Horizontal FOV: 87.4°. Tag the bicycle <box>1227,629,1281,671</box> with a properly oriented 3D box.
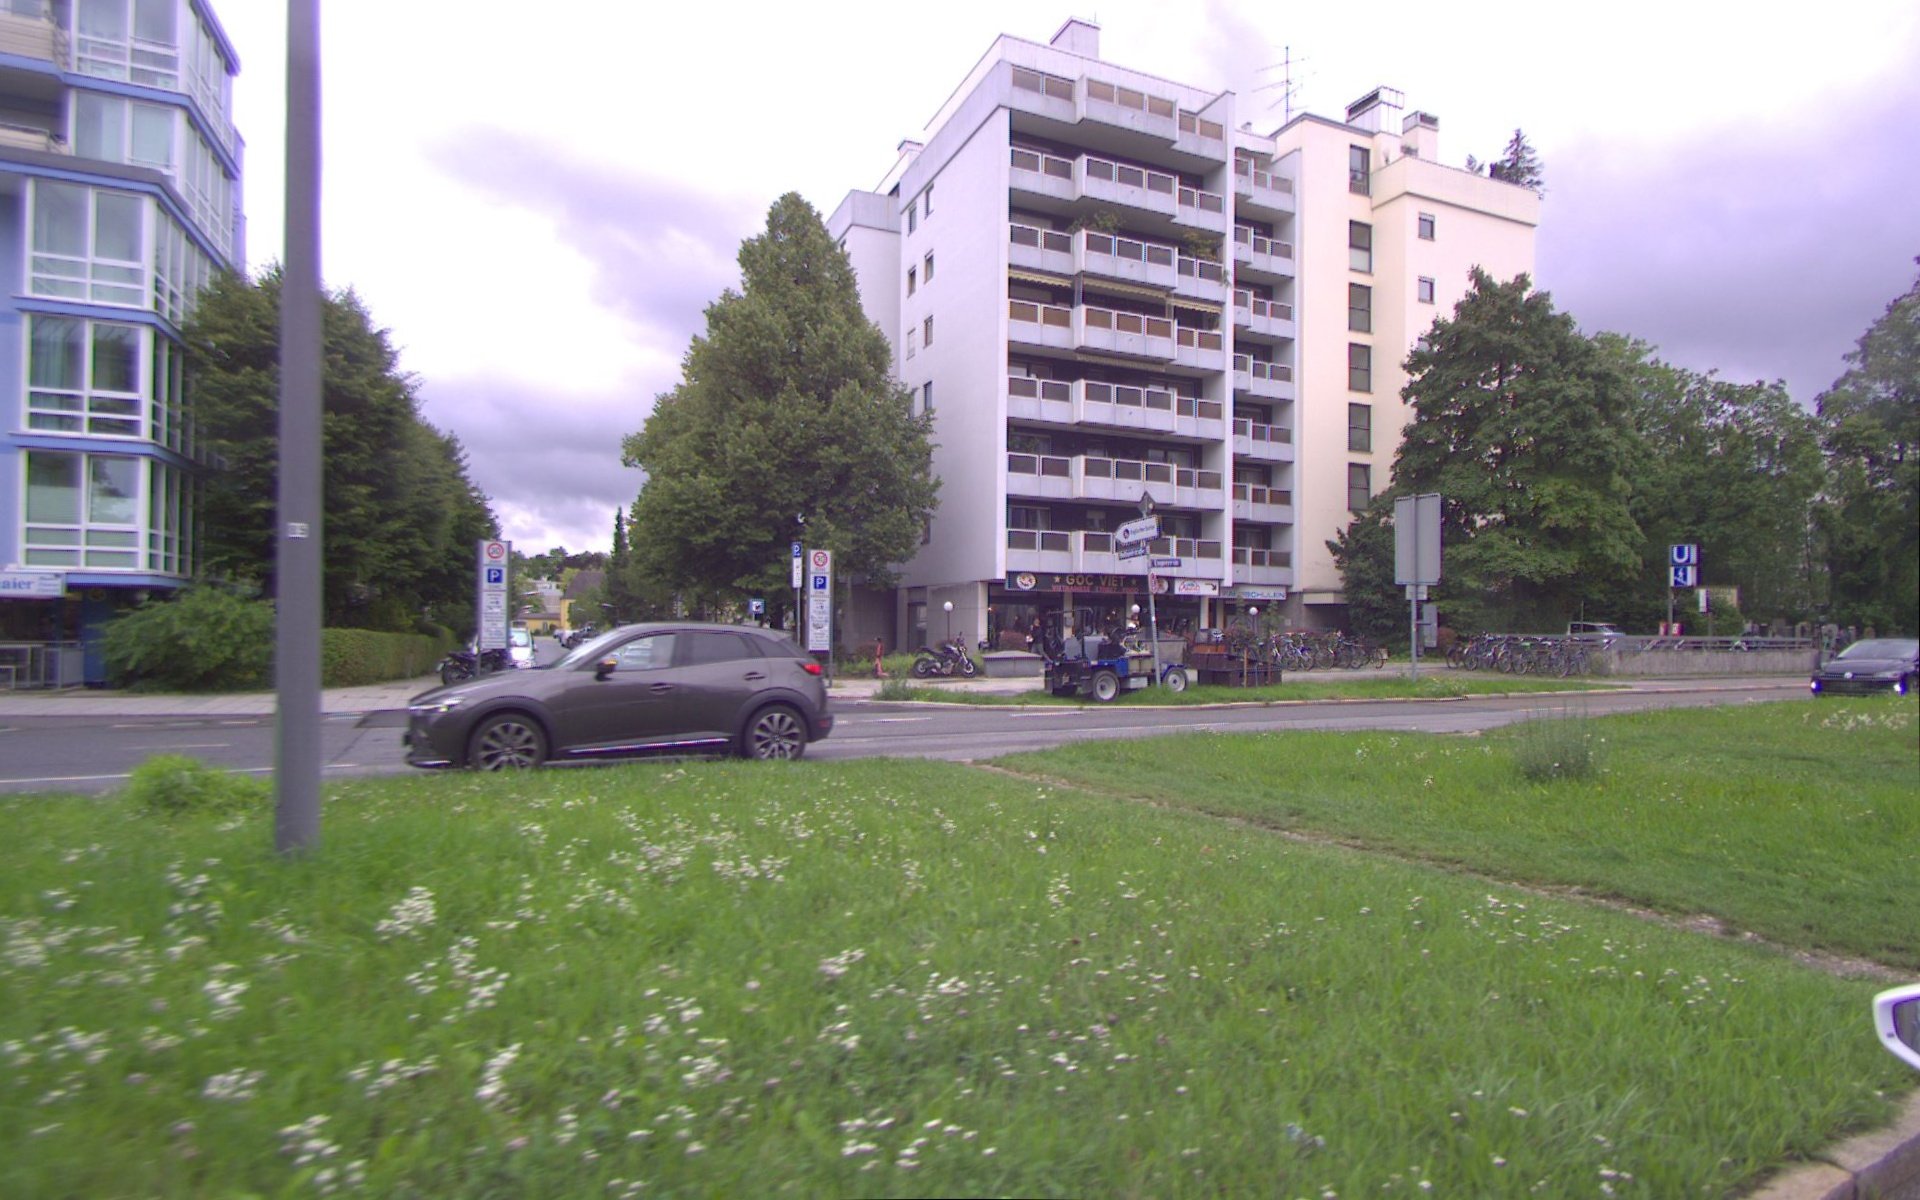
[{"bbox_3d":[9.278,1.564,31.777,0.552,1.118,1.944,1,3,-21],"label":"bicycle"}]

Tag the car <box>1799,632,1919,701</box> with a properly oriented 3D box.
[{"bbox_3d":[20.667,1.421,22.272,4.050,1.424,1.776,1,-2,-28],"label":"car"}]

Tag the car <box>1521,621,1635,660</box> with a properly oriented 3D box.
[{"bbox_3d":[26.893,1.740,43.817,1.724,1.610,3.977,1,-2,-24],"label":"car"}]

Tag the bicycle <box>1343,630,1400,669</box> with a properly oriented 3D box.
[{"bbox_3d":[13.717,1.647,33.541,0.482,1.118,1.944,1,3,-21],"label":"bicycle"}]

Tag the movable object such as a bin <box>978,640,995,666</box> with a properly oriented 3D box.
[{"bbox_3d":[1.026,1.996,38.204,0.531,0.978,0.371,1,-1,-33],"label":"movable object such as a bin"}]

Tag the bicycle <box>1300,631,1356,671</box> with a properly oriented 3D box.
[{"bbox_3d":[12.050,1.647,32.951,0.552,1.118,1.944,1,3,-21],"label":"bicycle"}]

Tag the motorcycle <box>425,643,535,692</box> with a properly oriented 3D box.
[{"bbox_3d":[-11.939,1.651,25.044,0.491,1.147,2.465,-1,-2,42],"label":"motorcycle"}]

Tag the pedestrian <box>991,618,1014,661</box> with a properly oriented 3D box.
[{"bbox_3d":[1.623,1.505,38.324,0.659,1.606,0.655,1,-1,-27],"label":"pedestrian"}]

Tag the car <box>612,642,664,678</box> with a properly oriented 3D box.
[{"bbox_3d":[-15.957,2.927,49.650,1.851,1.646,3.973,1,-2,-26],"label":"car"}]

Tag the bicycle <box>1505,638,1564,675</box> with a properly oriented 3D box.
[{"bbox_3d":[17.239,1.698,30.132,1.927,1.054,0.407,1,3,-24],"label":"bicycle"}]

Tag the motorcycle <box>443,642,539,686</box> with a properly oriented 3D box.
[{"bbox_3d":[-12.852,1.744,27.635,0.490,1.147,2.470,-1,-2,35],"label":"motorcycle"}]

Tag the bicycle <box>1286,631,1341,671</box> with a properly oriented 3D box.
[{"bbox_3d":[11.470,1.636,32.633,0.482,1.118,1.944,1,3,-21],"label":"bicycle"}]

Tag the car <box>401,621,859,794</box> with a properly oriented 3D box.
[{"bbox_3d":[-3.368,0.997,10.556,4.201,1.499,1.952,1,-2,-25],"label":"car"}]

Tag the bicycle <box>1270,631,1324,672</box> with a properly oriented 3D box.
[{"bbox_3d":[10.846,1.632,32.366,0.482,1.118,1.944,1,3,-21],"label":"bicycle"}]

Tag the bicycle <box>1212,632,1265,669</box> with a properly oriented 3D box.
[{"bbox_3d":[8.738,1.580,31.565,0.552,1.118,1.944,1,-2,-21],"label":"bicycle"}]

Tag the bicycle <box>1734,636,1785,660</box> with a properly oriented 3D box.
[{"bbox_3d":[35.482,2.109,44.616,0.431,1.020,1.757,1,-2,-25],"label":"bicycle"}]

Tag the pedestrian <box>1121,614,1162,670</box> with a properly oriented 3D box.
[{"bbox_3d":[5.682,1.303,31.387,1.118,1.731,0.665,1,-1,-32],"label":"pedestrian"}]

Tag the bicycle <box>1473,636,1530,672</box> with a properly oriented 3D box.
[{"bbox_3d":[16.803,1.665,31.181,1.927,1.044,0.407,1,3,-24],"label":"bicycle"}]

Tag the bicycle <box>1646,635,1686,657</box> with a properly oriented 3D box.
[{"bbox_3d":[32.333,2.100,45.981,2.004,1.020,0.577,1,-1,-25],"label":"bicycle"}]

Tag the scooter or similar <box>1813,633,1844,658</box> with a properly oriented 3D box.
[{"bbox_3d":[40.802,2.125,47.170,1.267,1.141,0.435,1,-1,-13],"label":"scooter or similar"}]

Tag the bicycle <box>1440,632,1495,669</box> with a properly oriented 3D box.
[{"bbox_3d":[16.232,1.608,32.120,1.927,1.112,0.407,1,3,-24],"label":"bicycle"}]

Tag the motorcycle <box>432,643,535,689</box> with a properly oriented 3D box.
[{"bbox_3d":[-12.374,1.697,26.169,0.490,1.147,2.469,-1,-2,37],"label":"motorcycle"}]

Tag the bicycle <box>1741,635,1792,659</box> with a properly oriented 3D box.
[{"bbox_3d":[36.005,2.101,44.880,0.431,1.020,1.757,1,-2,-25],"label":"bicycle"}]

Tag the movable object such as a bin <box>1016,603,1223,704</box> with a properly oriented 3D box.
[{"bbox_3d":[3.443,1.107,21.594,3.955,1.979,2.182,1,-2,-32],"label":"movable object such as a bin"}]

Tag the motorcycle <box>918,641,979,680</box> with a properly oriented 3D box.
[{"bbox_3d":[-0.324,1.721,28.752,1.748,1.101,0.419,0,-1,0],"label":"motorcycle"}]

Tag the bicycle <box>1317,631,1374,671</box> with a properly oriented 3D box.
[{"bbox_3d":[12.681,1.665,33.135,0.552,1.118,1.944,1,3,-21],"label":"bicycle"}]

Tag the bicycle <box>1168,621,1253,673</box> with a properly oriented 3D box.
[{"bbox_3d":[7.867,1.447,31.788,0.776,1.300,3.320,1,3,-21],"label":"bicycle"}]

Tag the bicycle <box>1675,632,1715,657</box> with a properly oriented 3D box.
[{"bbox_3d":[32.945,1.986,45.022,2.004,1.113,0.577,1,-1,-25],"label":"bicycle"}]

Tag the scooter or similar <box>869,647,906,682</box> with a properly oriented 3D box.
[{"bbox_3d":[-2.133,1.872,29.400,1.135,0.971,0.441,-1,-2,43],"label":"scooter or similar"}]

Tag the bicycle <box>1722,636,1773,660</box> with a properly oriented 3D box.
[{"bbox_3d":[34.265,2.074,43.731,0.431,1.020,1.757,1,-2,-25],"label":"bicycle"}]

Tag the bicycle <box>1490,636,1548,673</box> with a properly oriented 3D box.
[{"bbox_3d":[17.058,1.647,30.654,1.927,1.087,0.407,1,3,-24],"label":"bicycle"}]

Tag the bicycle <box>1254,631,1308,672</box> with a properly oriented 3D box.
[{"bbox_3d":[10.265,1.631,32.159,0.482,1.118,1.944,1,3,-21],"label":"bicycle"}]

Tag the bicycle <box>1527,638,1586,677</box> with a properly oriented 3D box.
[{"bbox_3d":[17.558,1.682,29.543,1.927,1.092,0.407,1,3,-24],"label":"bicycle"}]

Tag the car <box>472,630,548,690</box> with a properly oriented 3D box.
[{"bbox_3d":[-14.187,1.814,31.537,1.974,1.704,5.084,1,-2,-26],"label":"car"}]

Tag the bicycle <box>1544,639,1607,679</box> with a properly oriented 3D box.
[{"bbox_3d":[17.817,1.698,29.085,2.055,1.104,0.407,1,3,-24],"label":"bicycle"}]

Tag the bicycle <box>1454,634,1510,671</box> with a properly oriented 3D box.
[{"bbox_3d":[16.452,1.638,31.654,1.927,1.119,0.407,1,3,-24],"label":"bicycle"}]
